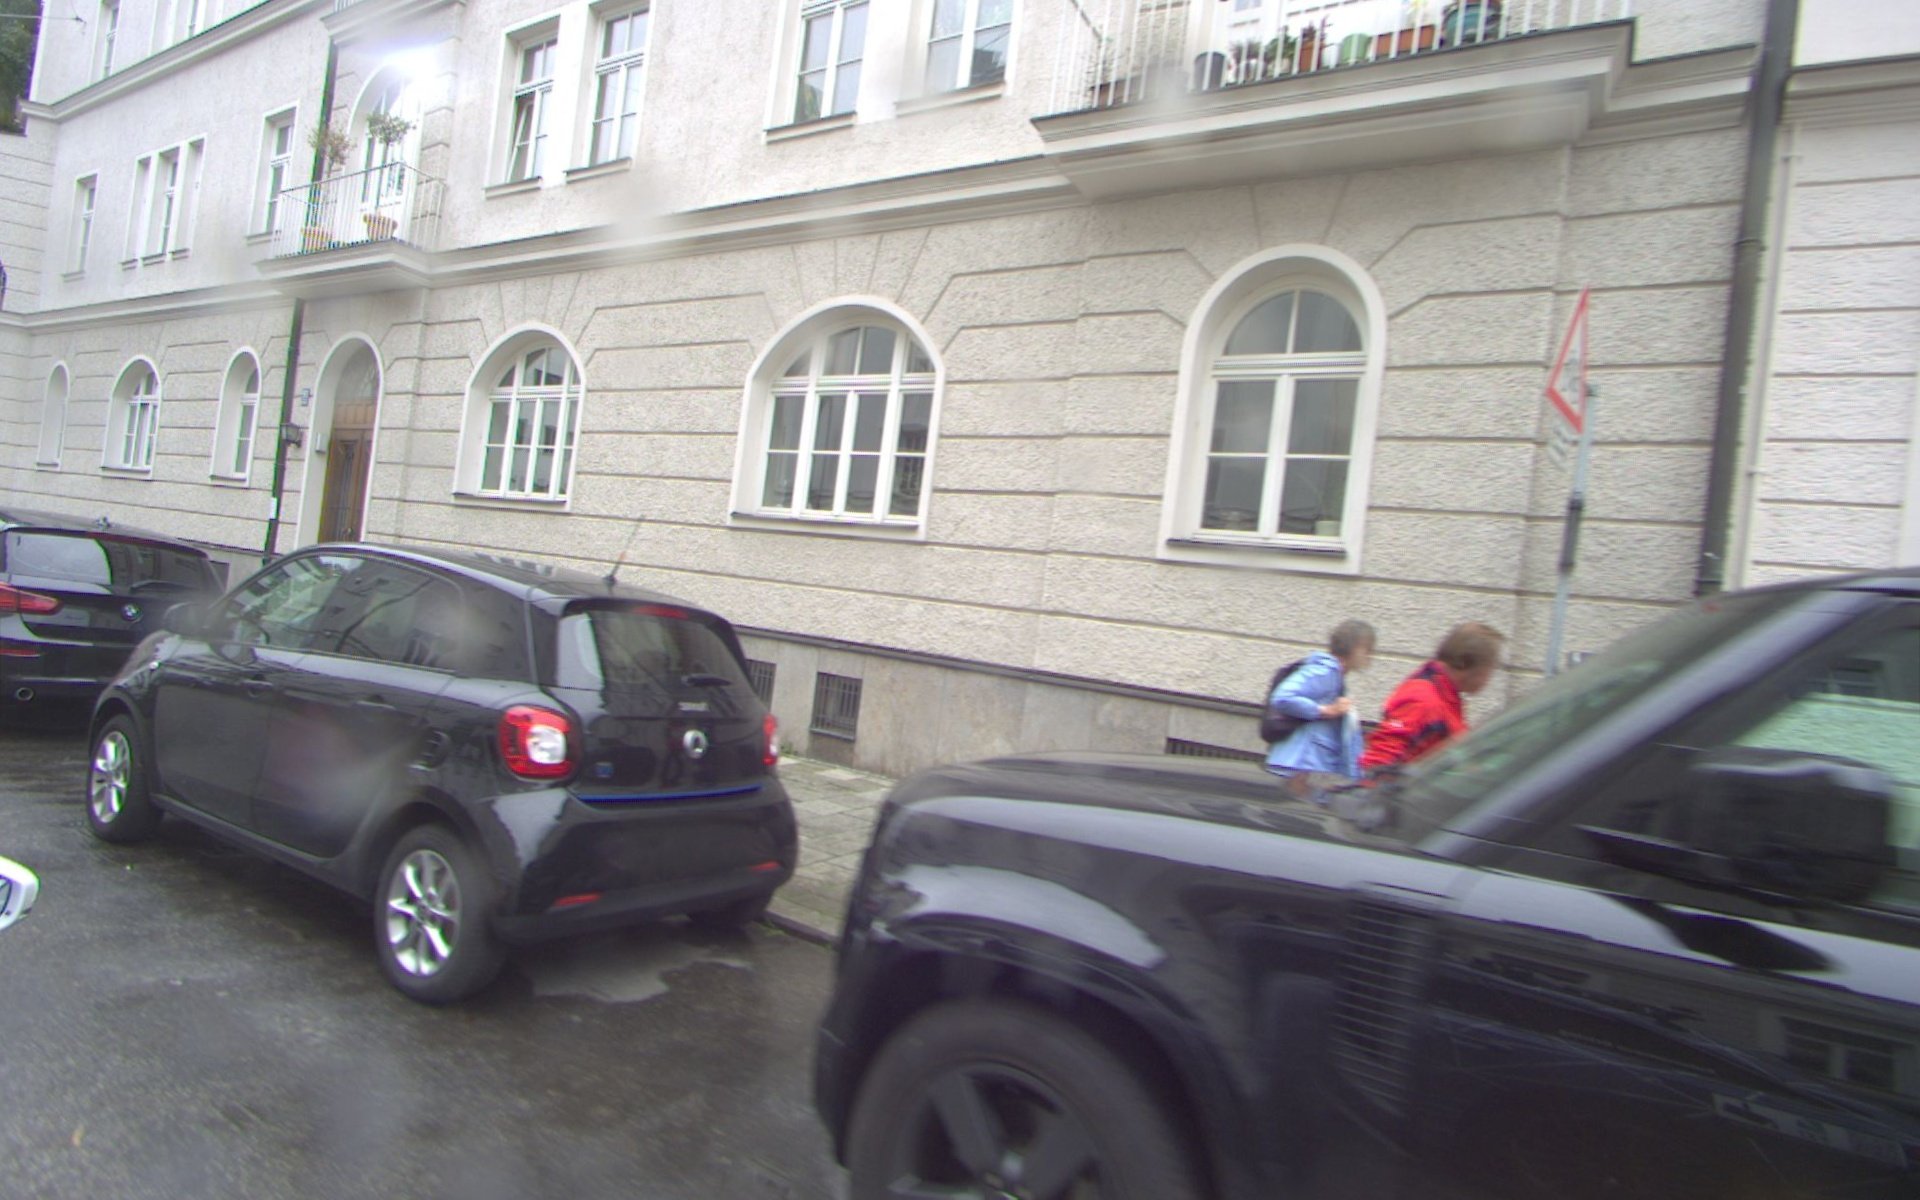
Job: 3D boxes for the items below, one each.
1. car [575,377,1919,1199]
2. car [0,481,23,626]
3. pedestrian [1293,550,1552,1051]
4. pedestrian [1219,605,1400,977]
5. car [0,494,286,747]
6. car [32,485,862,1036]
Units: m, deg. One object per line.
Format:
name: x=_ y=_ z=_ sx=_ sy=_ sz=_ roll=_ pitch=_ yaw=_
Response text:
car: x=1.726 y=0.812 z=1.955 sx=4.633 sy=1.905 sz=1.917 roll=7 pitch=-4 yaw=30
car: x=-11.811 y=-0.665 z=10.523 sx=4.303 sy=1.654 sz=1.781 roll=7 pitch=-3 yaw=33
pedestrian: x=1.883 y=0.738 z=4.075 sx=0.691 sy=1.749 sz=0.704 roll=7 pitch=0 yaw=30
pedestrian: x=1.811 y=0.920 z=5.178 sx=0.642 sy=1.696 sz=0.681 roll=7 pitch=1 yaw=24
car: x=-7.045 y=-0.016 z=7.552 sx=4.133 sy=1.488 sz=1.709 roll=7 pitch=-2 yaw=33
car: x=-2.485 y=0.483 z=4.741 sx=3.575 sy=1.542 sz=1.659 roll=7 pitch=-2 yaw=30
